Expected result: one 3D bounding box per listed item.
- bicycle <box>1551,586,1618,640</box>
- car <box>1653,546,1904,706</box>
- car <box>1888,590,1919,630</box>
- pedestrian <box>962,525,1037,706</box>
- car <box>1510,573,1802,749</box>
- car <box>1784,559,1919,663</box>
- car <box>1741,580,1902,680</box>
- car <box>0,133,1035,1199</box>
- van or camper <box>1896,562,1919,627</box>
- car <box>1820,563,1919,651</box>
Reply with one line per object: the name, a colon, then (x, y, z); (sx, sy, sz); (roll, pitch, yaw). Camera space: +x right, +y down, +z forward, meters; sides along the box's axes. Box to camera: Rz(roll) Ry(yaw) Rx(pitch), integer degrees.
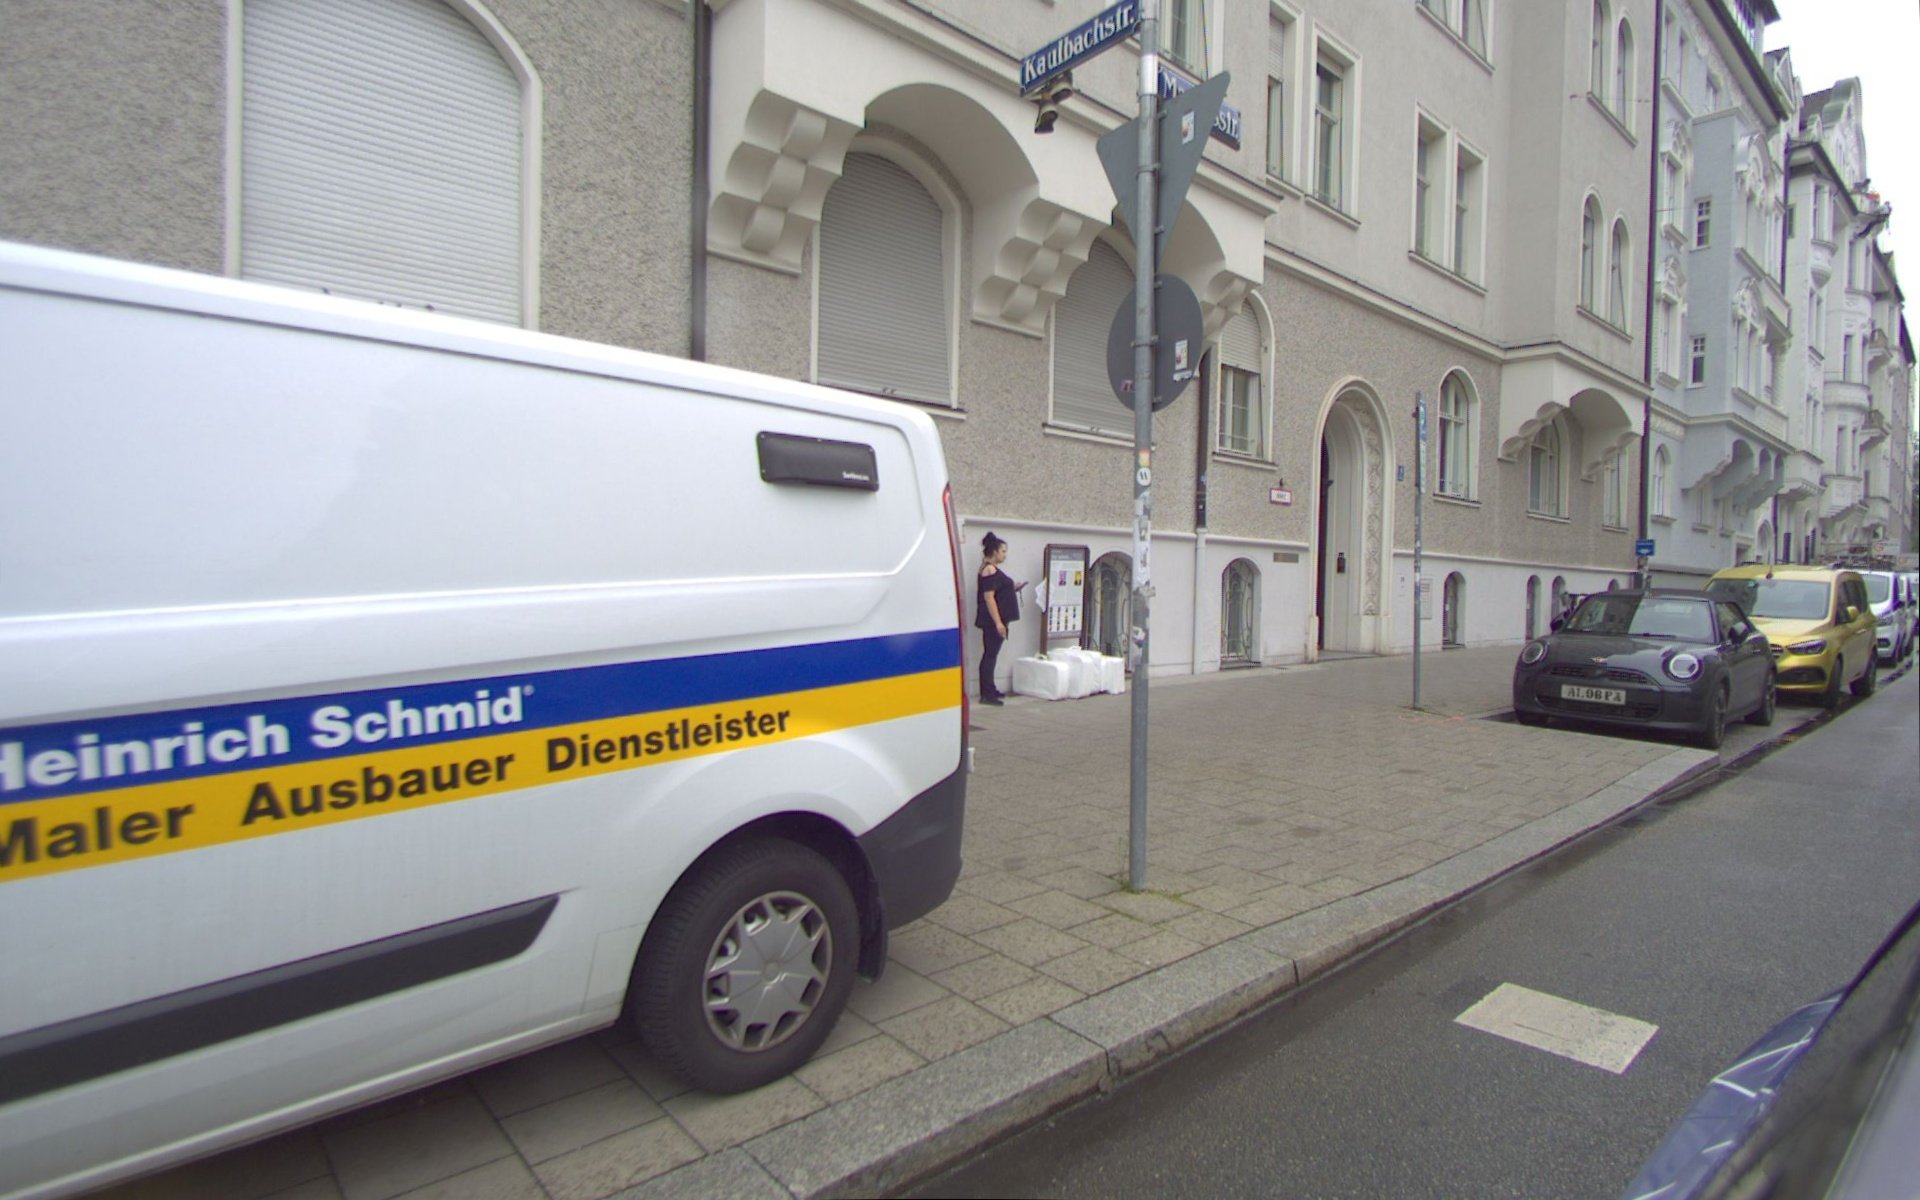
bicycle: (13.876, 0.278, 22.471); (2.002, 1.107, 0.695); (0, 4, -43)
car: (11.485, 0.272, 14.073); (4.736, 1.876, 1.854); (0, 2, -41)
car: (36.942, 0.384, 38.805); (4.020, 1.452, 1.755); (0, 3, -45)
pedestrian: (0.402, 0.130, 10.305); (0.680, 1.757, 0.736); (2, 5, 2)
car: (7.368, 0.505, 10.576); (3.830, 1.475, 1.666); (0, 2, -42)
car: (19.249, 0.171, 21.690); (1.961, 1.961, 4.912); (3, 2, 45)
car: (15.040, 0.449, 17.607); (3.719, 1.502, 1.634); (0, 2, -42)
car: (-2.180, 0.219, 2.270); (4.846, 1.986, 1.918); (0, 3, -44)
van or camper: (41.211, -0.228, 42.824); (5.367, 2.669, 1.956); (0, 2, -44)
car: (23.730, 0.127, 26.086); (1.961, 2.038, 4.912); (3, 2, 45)
